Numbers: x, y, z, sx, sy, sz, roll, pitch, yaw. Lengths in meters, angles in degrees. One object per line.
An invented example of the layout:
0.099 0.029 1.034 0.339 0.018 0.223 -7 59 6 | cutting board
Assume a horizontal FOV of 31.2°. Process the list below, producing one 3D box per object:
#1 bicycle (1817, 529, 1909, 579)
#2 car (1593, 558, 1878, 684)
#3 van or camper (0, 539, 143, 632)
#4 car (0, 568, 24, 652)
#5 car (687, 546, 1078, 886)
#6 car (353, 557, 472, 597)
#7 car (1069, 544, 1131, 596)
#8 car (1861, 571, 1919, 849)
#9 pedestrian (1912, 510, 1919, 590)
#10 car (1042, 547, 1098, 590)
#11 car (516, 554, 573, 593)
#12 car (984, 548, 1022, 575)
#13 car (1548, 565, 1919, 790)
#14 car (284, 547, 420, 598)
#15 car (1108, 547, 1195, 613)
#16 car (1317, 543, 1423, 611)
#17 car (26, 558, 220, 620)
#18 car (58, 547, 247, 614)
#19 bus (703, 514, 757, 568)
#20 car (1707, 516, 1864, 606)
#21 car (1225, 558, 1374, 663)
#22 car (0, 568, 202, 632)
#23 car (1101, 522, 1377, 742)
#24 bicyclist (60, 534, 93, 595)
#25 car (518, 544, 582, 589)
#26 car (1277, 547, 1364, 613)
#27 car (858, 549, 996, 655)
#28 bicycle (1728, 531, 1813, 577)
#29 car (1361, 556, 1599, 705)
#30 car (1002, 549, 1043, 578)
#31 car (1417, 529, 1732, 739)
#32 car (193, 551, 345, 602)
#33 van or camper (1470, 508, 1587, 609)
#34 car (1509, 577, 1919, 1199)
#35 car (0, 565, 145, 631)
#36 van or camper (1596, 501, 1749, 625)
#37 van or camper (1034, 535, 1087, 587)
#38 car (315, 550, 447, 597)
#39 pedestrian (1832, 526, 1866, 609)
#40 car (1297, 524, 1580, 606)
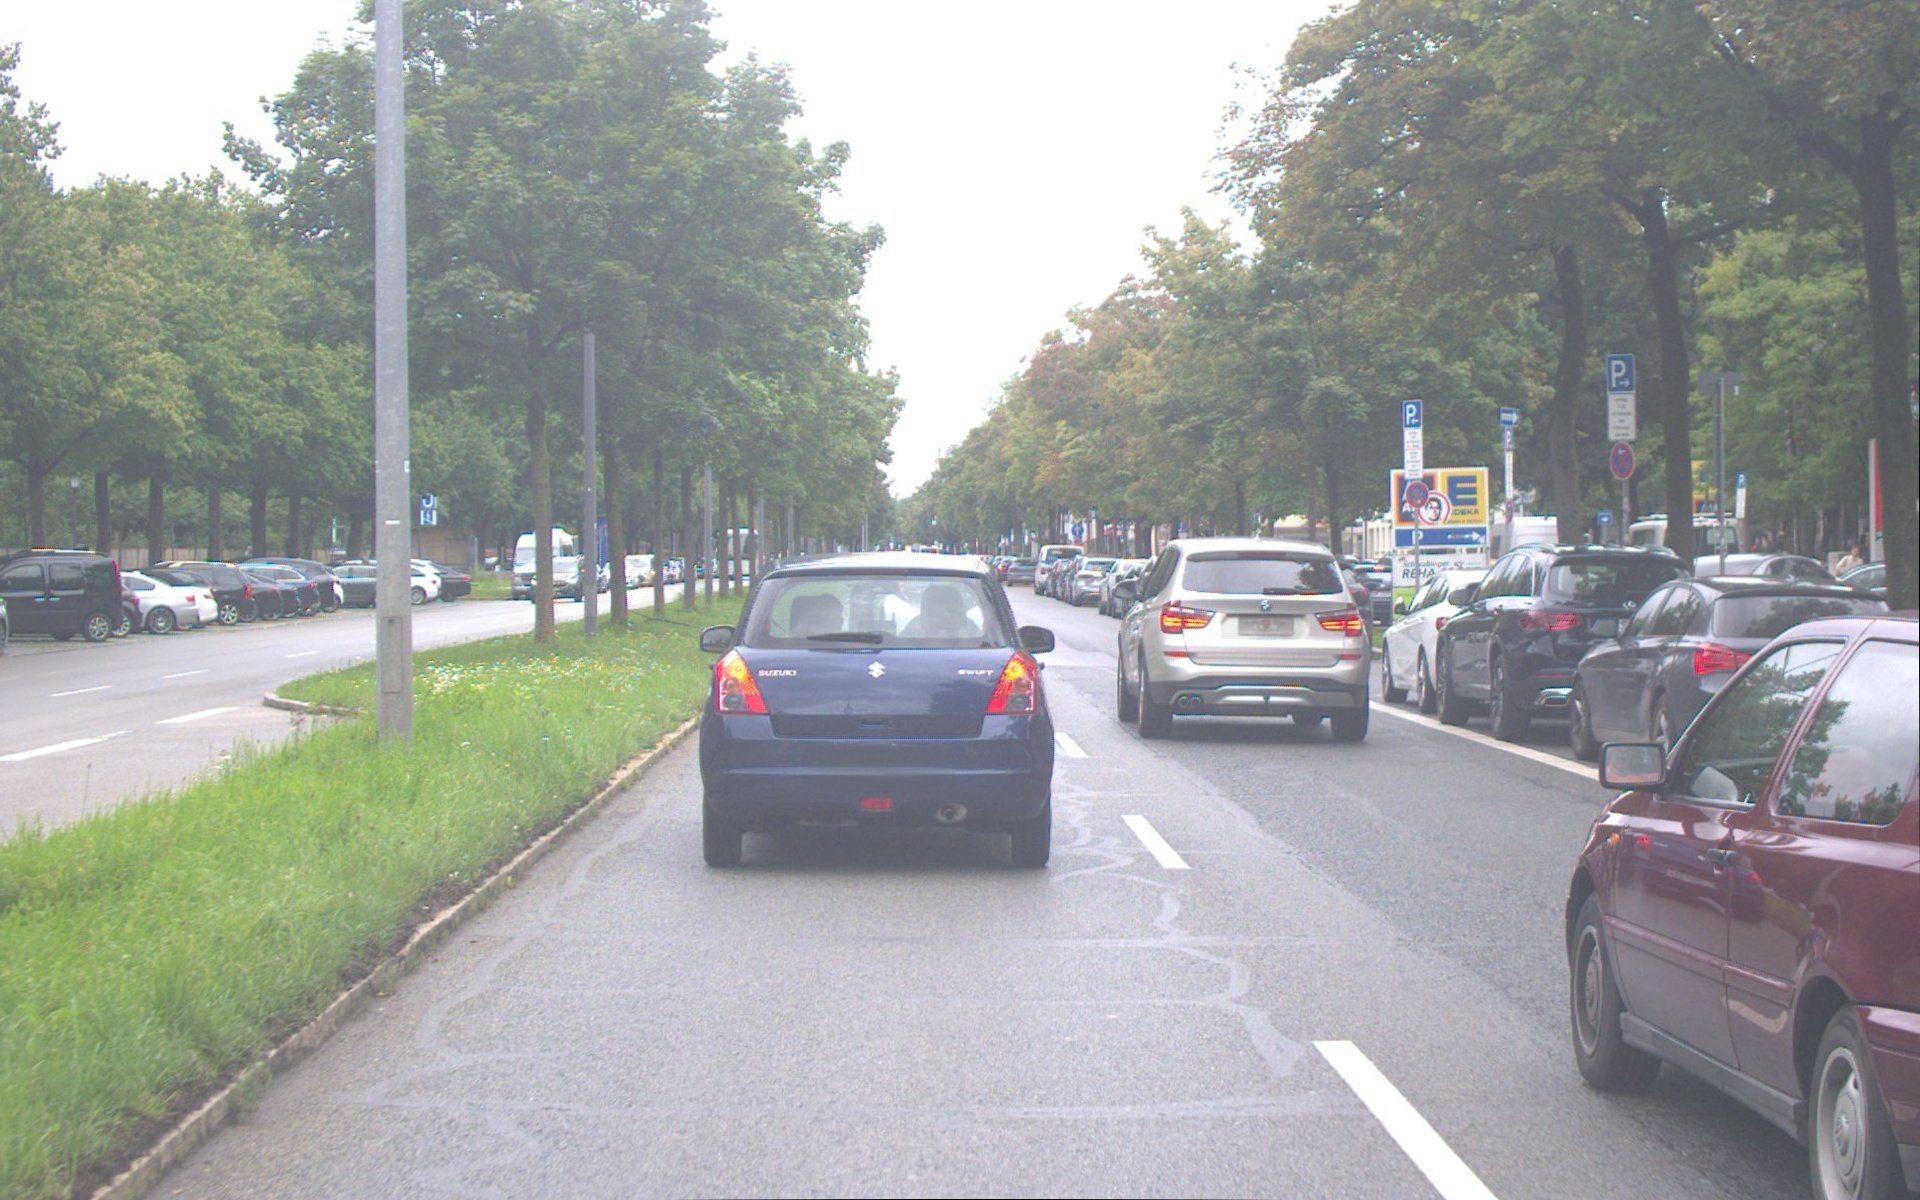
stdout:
27.597 -1.394 105.075 2.609 1.503 0.798 0 1 -7 | bicycle
10.633 0.249 46.910 1.971 1.619 4.836 1 1 37 | car
-18.943 -0.310 69.961 4.114 1.848 1.849 -1 1 -41 | van or camper
-17.397 0.182 58.392 1.636 1.434 4.809 1 1 0 | car
-0.437 0.497 17.719 1.789 1.550 4.001 0 1 -2 | car
-20.584 -0.867 129.273 4.094 1.469 1.705 0 0 -34 | car
4.295 -0.935 106.157 1.684 1.520 4.456 1 1 0 | car
5.851 0.593 17.056 1.634 1.448 4.078 0 1 -1 | car
21.371 -1.107 75.872 0.575 1.745 0.732 0 1 4 | pedestrian
4.053 -1.176 127.396 1.684 1.548 4.307 0 1 -3 | car
-16.666 -1.078 138.019 1.913 1.537 4.188 0 1 -2 | car
2.326 -2.083 185.968 1.850 1.442 4.098 0 1 -2 | car
5.424 0.479 24.412 1.633 1.434 4.305 0 1 -2 | car
-20.626 -0.941 116.660 4.095 1.689 1.919 -1 1 -34 | car
4.603 -0.510 83.175 1.764 1.541 4.424 0 1 -1 | car
9.150 -0.537 76.963 1.747 1.474 4.009 0 1 -2 | car
-19.367 -0.279 79.616 4.031 1.377 1.674 -1 1 -36 | car
-19.944 -0.491 84.978 4.096 1.591 1.919 -1 1 -39 | car
-15.164 -3.878 227.342 2.738 3.366 12.013 -2 1 0 | bus
15.624 -0.750 65.251 1.993 1.645 4.000 0 1 0 | car
5.336 0.127 54.467 1.761 1.584 4.453 0 1 -2 | car
-19.108 -0.016 76.495 3.987 1.349 1.850 -1 1 -35 | car
2.293 0.219 29.224 1.850 1.737 4.098 0 1 -2 | car
-25.309 -1.028 98.500 0.705 1.741 0.923 0 1 -1 | bicyclist
-14.555 -1.199 122.206 1.913 1.537 4.188 0 1 -2 | car
8.855 -0.520 84.600 1.684 1.580 4.009 0 1 0 | car
-0.513 -0.002 49.201 1.850 1.442 4.098 0 1 -2 | car
26.860 -1.513 113.915 2.609 1.503 0.798 0 1 -7 | bicycle
5.270 0.264 35.337 1.653 1.429 4.483 0 1 -2 | car
3.116 -1.823 172.127 1.850 1.442 4.098 0 1 -2 | car
5.204 0.237 29.712 1.786 1.669 4.596 0 1 -2 | car
-20.880 -0.718 103.853 4.094 1.496 1.919 -1 1 -31 | car
14.881 -1.100 90.298 2.024 2.549 5.957 0 1 -1 | van or camper
2.518 0.685 8.421 1.622 1.449 3.950 0 1 -1 | car
-19.307 -0.057 72.919 3.568 1.349 1.754 -1 1 -31 | car
15.204 -0.812 73.709 1.993 2.549 5.957 0 1 -1 | van or camper
3.886 -1.521 133.799 1.944 1.968 4.306 0 1 0 | van or camper
-20.253 -0.942 120.299 4.095 1.579 1.919 -1 1 -34 | car
18.827 -0.693 72.790 0.575 1.745 0.732 0 1 4 | pedestrian
8.698 -0.644 62.497 4.828 1.449 1.688 0 1 22 | car
